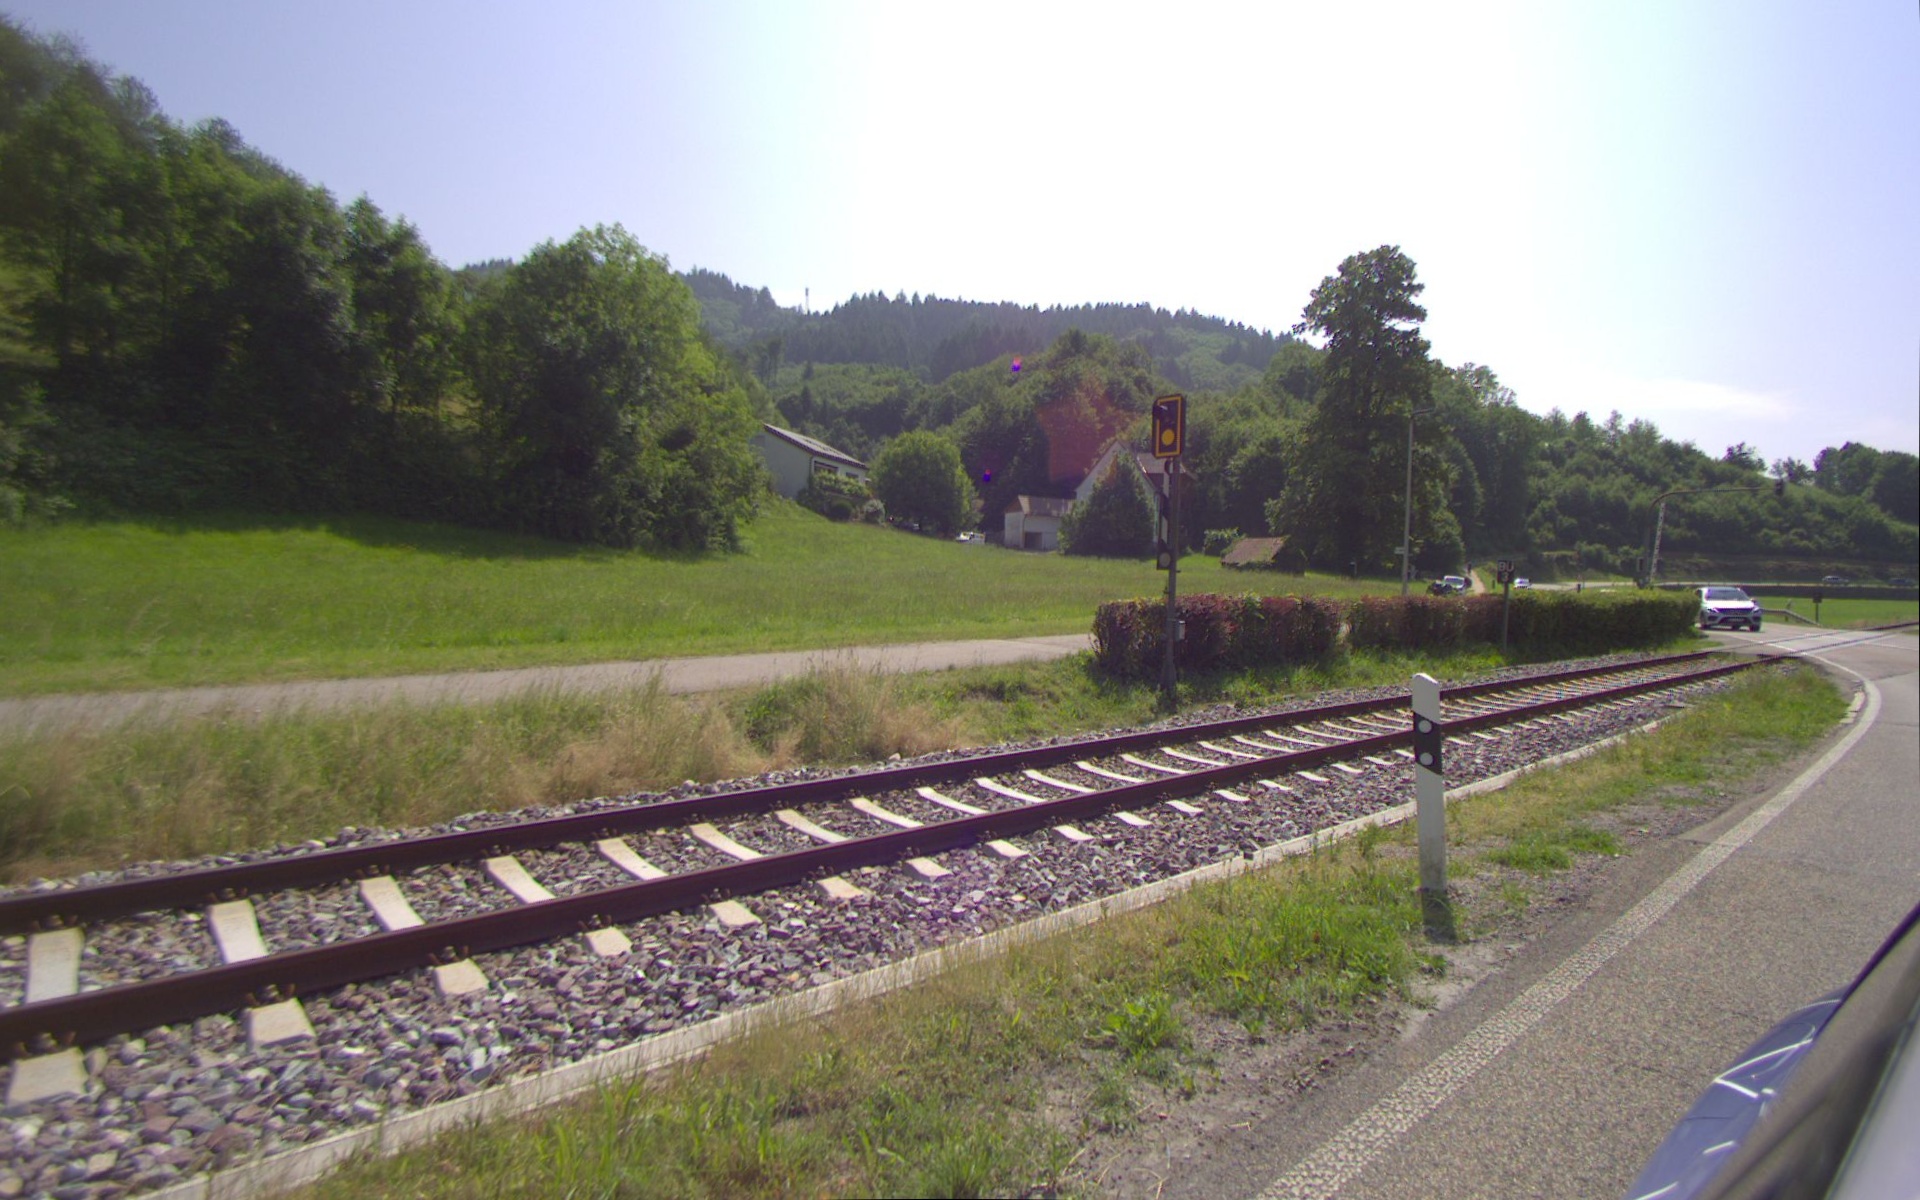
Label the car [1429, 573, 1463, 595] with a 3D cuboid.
[{"bbox_3d":[41.009,-1.372,85.456,1.654,1.473,3.703,5,5,13],"label":"car"}]

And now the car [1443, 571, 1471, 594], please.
[{"bbox_3d":[45.607,-1.643,92.836,1.989,1.869,4.824,9,5,27],"label":"car"}]

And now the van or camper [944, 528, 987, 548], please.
[{"bbox_3d":[0.641,-7.180,117.128,2.792,1.973,5.387,4,3,26],"label":"van or camper"}]

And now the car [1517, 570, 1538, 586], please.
[{"bbox_3d":[70.225,-2.745,125.240,1.986,1.806,3.953,4,3,33],"label":"car"}]

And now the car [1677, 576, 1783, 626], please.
[{"bbox_3d":[32.123,-0.022,42.378,2.092,1.836,4.430,3,3,18],"label":"car"}]
